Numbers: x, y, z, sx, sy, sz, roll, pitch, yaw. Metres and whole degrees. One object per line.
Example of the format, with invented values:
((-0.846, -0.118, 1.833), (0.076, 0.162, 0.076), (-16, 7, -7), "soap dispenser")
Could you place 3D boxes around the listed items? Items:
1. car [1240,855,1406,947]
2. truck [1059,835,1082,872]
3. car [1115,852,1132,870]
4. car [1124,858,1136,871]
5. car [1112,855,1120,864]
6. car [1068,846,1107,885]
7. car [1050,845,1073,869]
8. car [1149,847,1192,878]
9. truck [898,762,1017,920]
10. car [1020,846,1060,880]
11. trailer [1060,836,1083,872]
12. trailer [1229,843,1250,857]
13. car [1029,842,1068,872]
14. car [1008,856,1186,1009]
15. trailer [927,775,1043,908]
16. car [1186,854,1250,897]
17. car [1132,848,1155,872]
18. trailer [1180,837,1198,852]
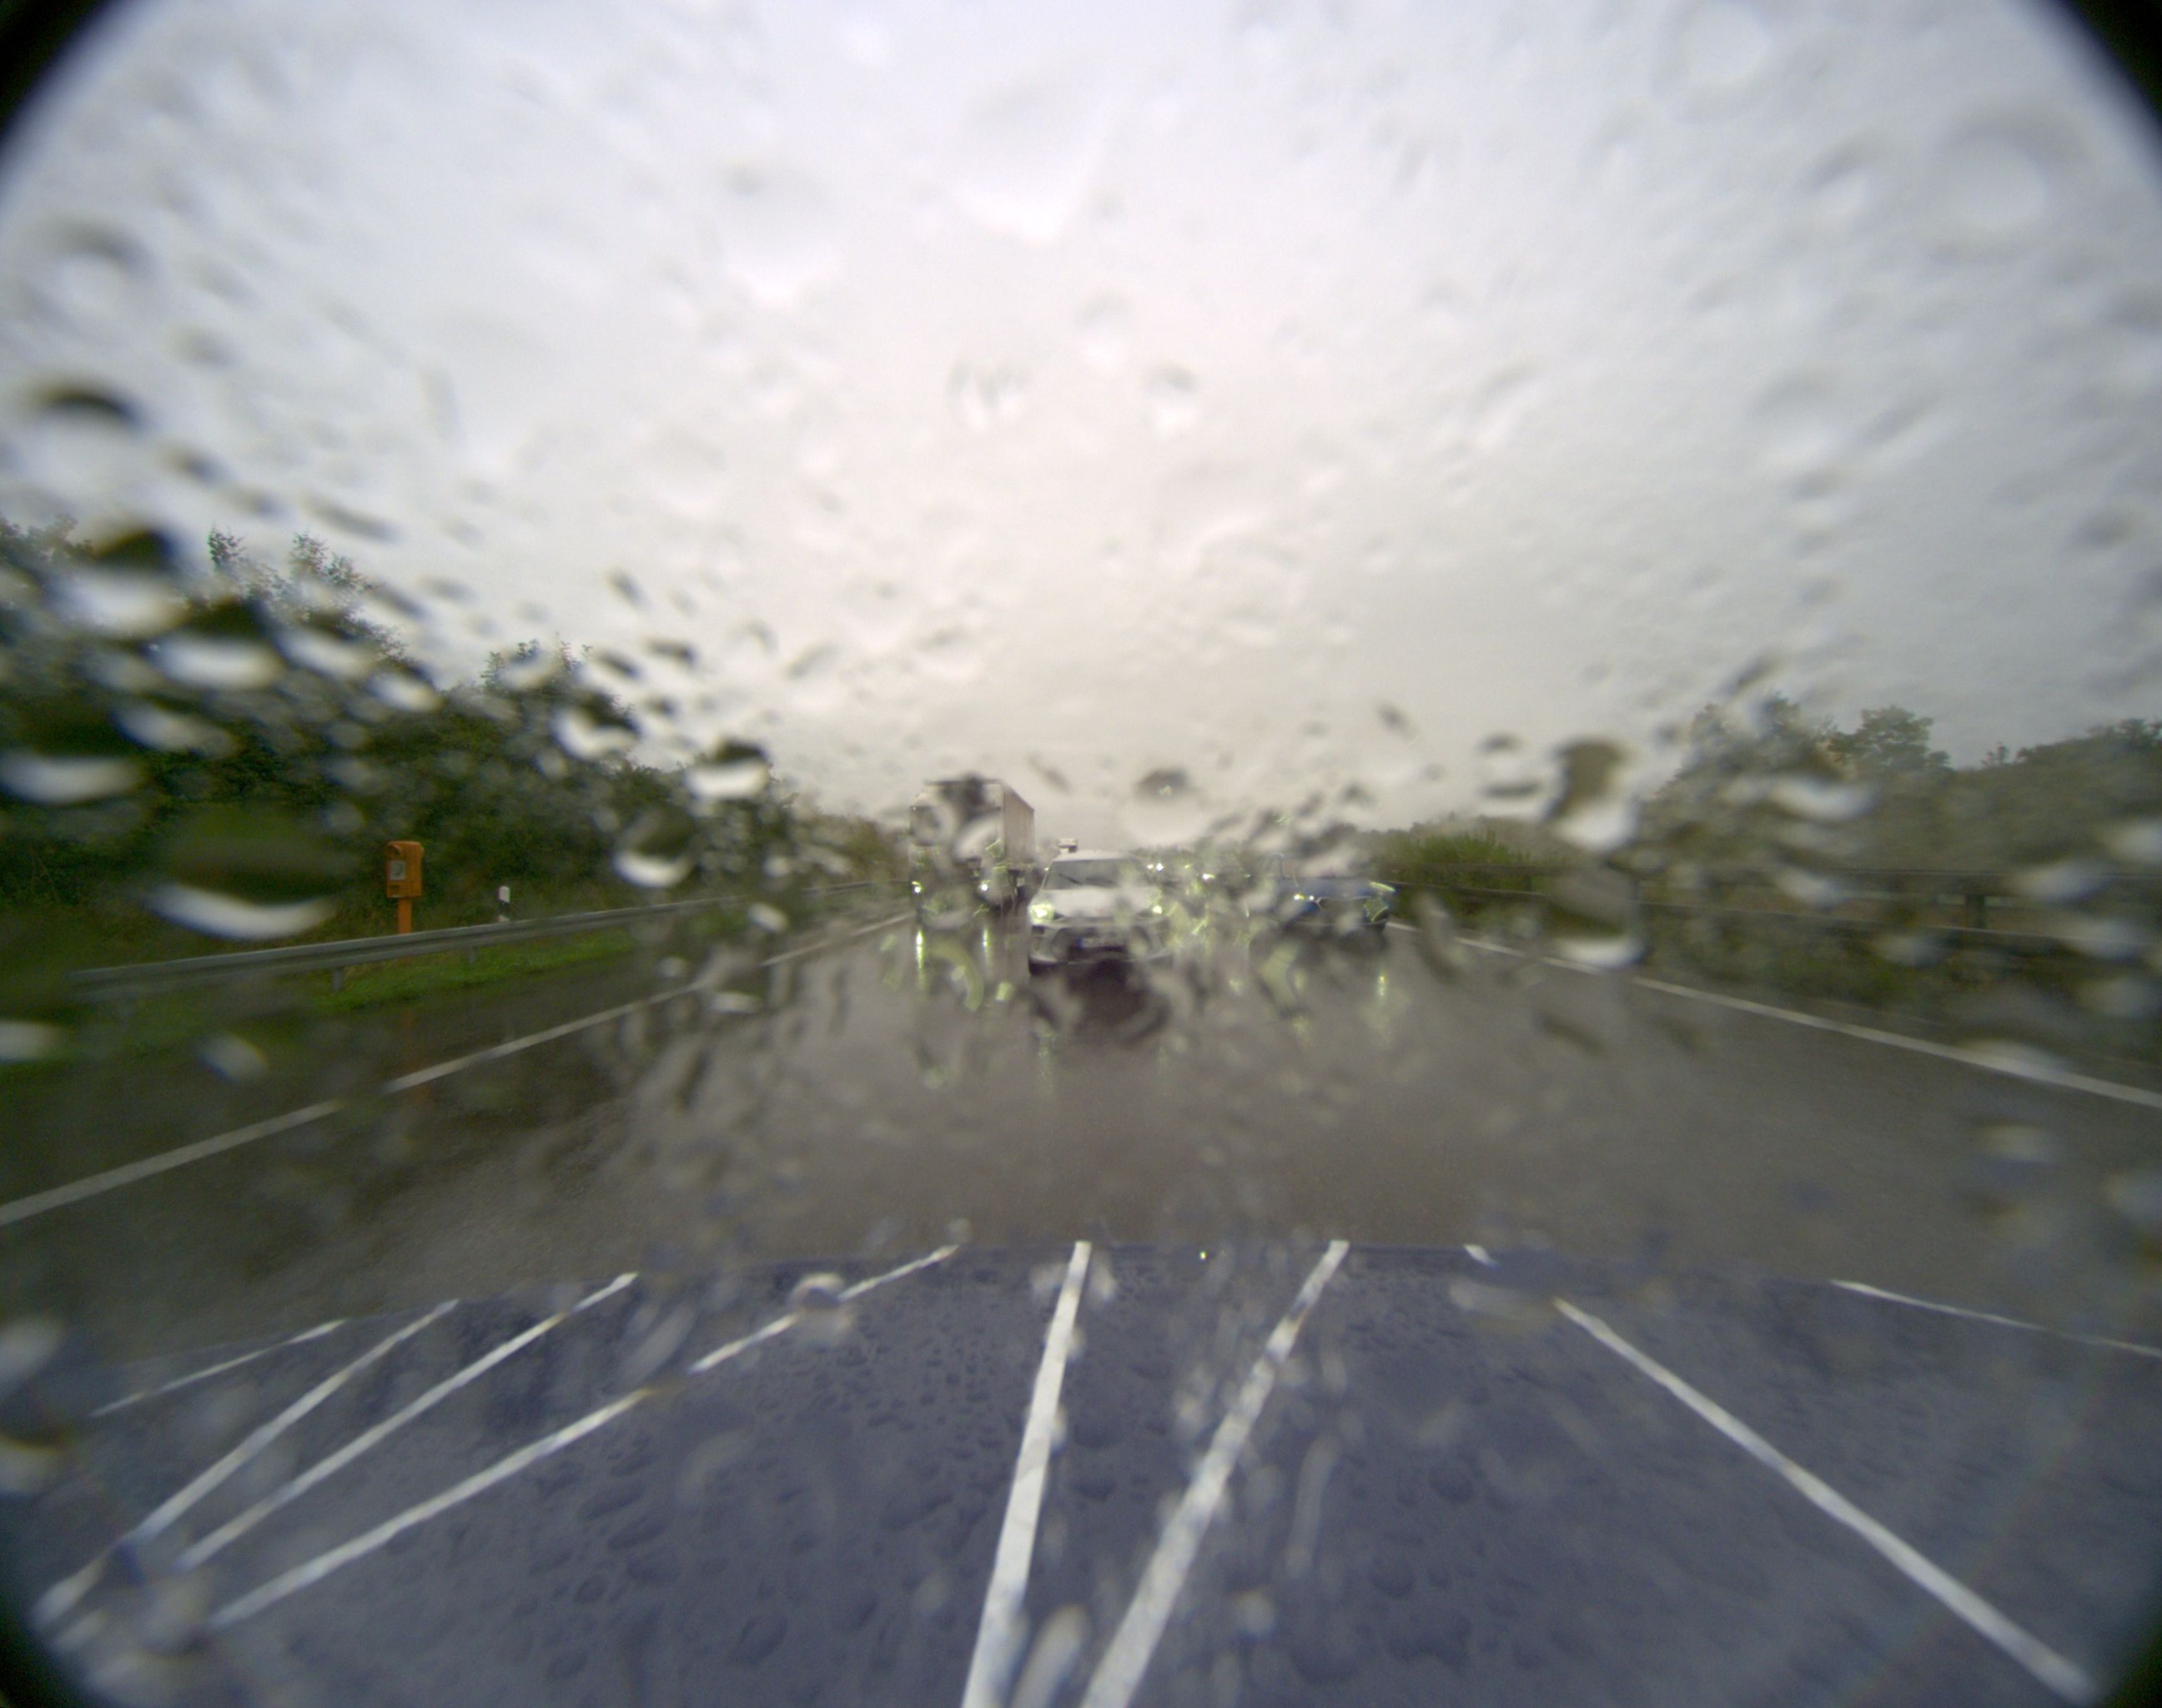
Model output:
((4.412, 0.769, 14.632), (1.790, 1.467, 4.512), (-2, 0, 1), "car")
((-1.301, -0.046, 97.646), (2.628, 4.635, 4.290), (-2, 0, 1), "truck")
((4.814, 0.802, 87.144), (1.737, 2.002, 4.223), (-2, 0, 1), "car")
((6.348, 1.344, 97.909), (1.458, 1.540, 2.804), (0, 2, 1), "car")
((6.539, 1.015, 141.868), (1.279, 1.567, 2.848), (-2, 0, 1), "car")
((0.421, 0.588, 42.043), (1.998, 2.002, 4.000), (-2, 0, 2), "car")
((-1.912, 0.312, 75.645), (1.998, 2.231, 4.000), (-2, 0, 1), "car")
((5.021, 0.439, 43.109), (1.888, 1.622, 4.269), (-2, 0, 1), "car")
((-3.588, -0.372, 23.272), (2.633, 4.229, 5.043), (-2, 1, 0), "truck")
((-2.533, 0.539, 47.923), (1.946, 2.002, 4.447), (-2, 1, 3), "car")
((-1.176, -0.001, 103.166), (2.628, 4.635, 9.222), (-2, 0, 1), "trailer")
((23.830, -0.696, 114.393), (2.097, 2.002, 5.348), (0, 2, 0), "trailer")
((-2.279, 0.210, 54.429), (2.260, 2.002, 4.270), (-2, 1, 4), "car")
((0.205, 0.861, 10.239), (1.893, 1.578, 4.000), (-2, 0, 1), "car")
((-3.464, -0.453, 31.690), (2.633, 4.224, 14.175), (-2, 1, 1), "trailer")
((5.020, 0.747, 28.359), (1.613, 1.428, 4.370), (-2, 0, 1), "car")
((5.322, 0.489, 65.228), (1.888, 2.002, 4.270), (-2, 0, 4), "car")
((19.755, -1.787, 139.002), (2.487, 2.704, 7.322), (0, 2, 2), "trailer")
